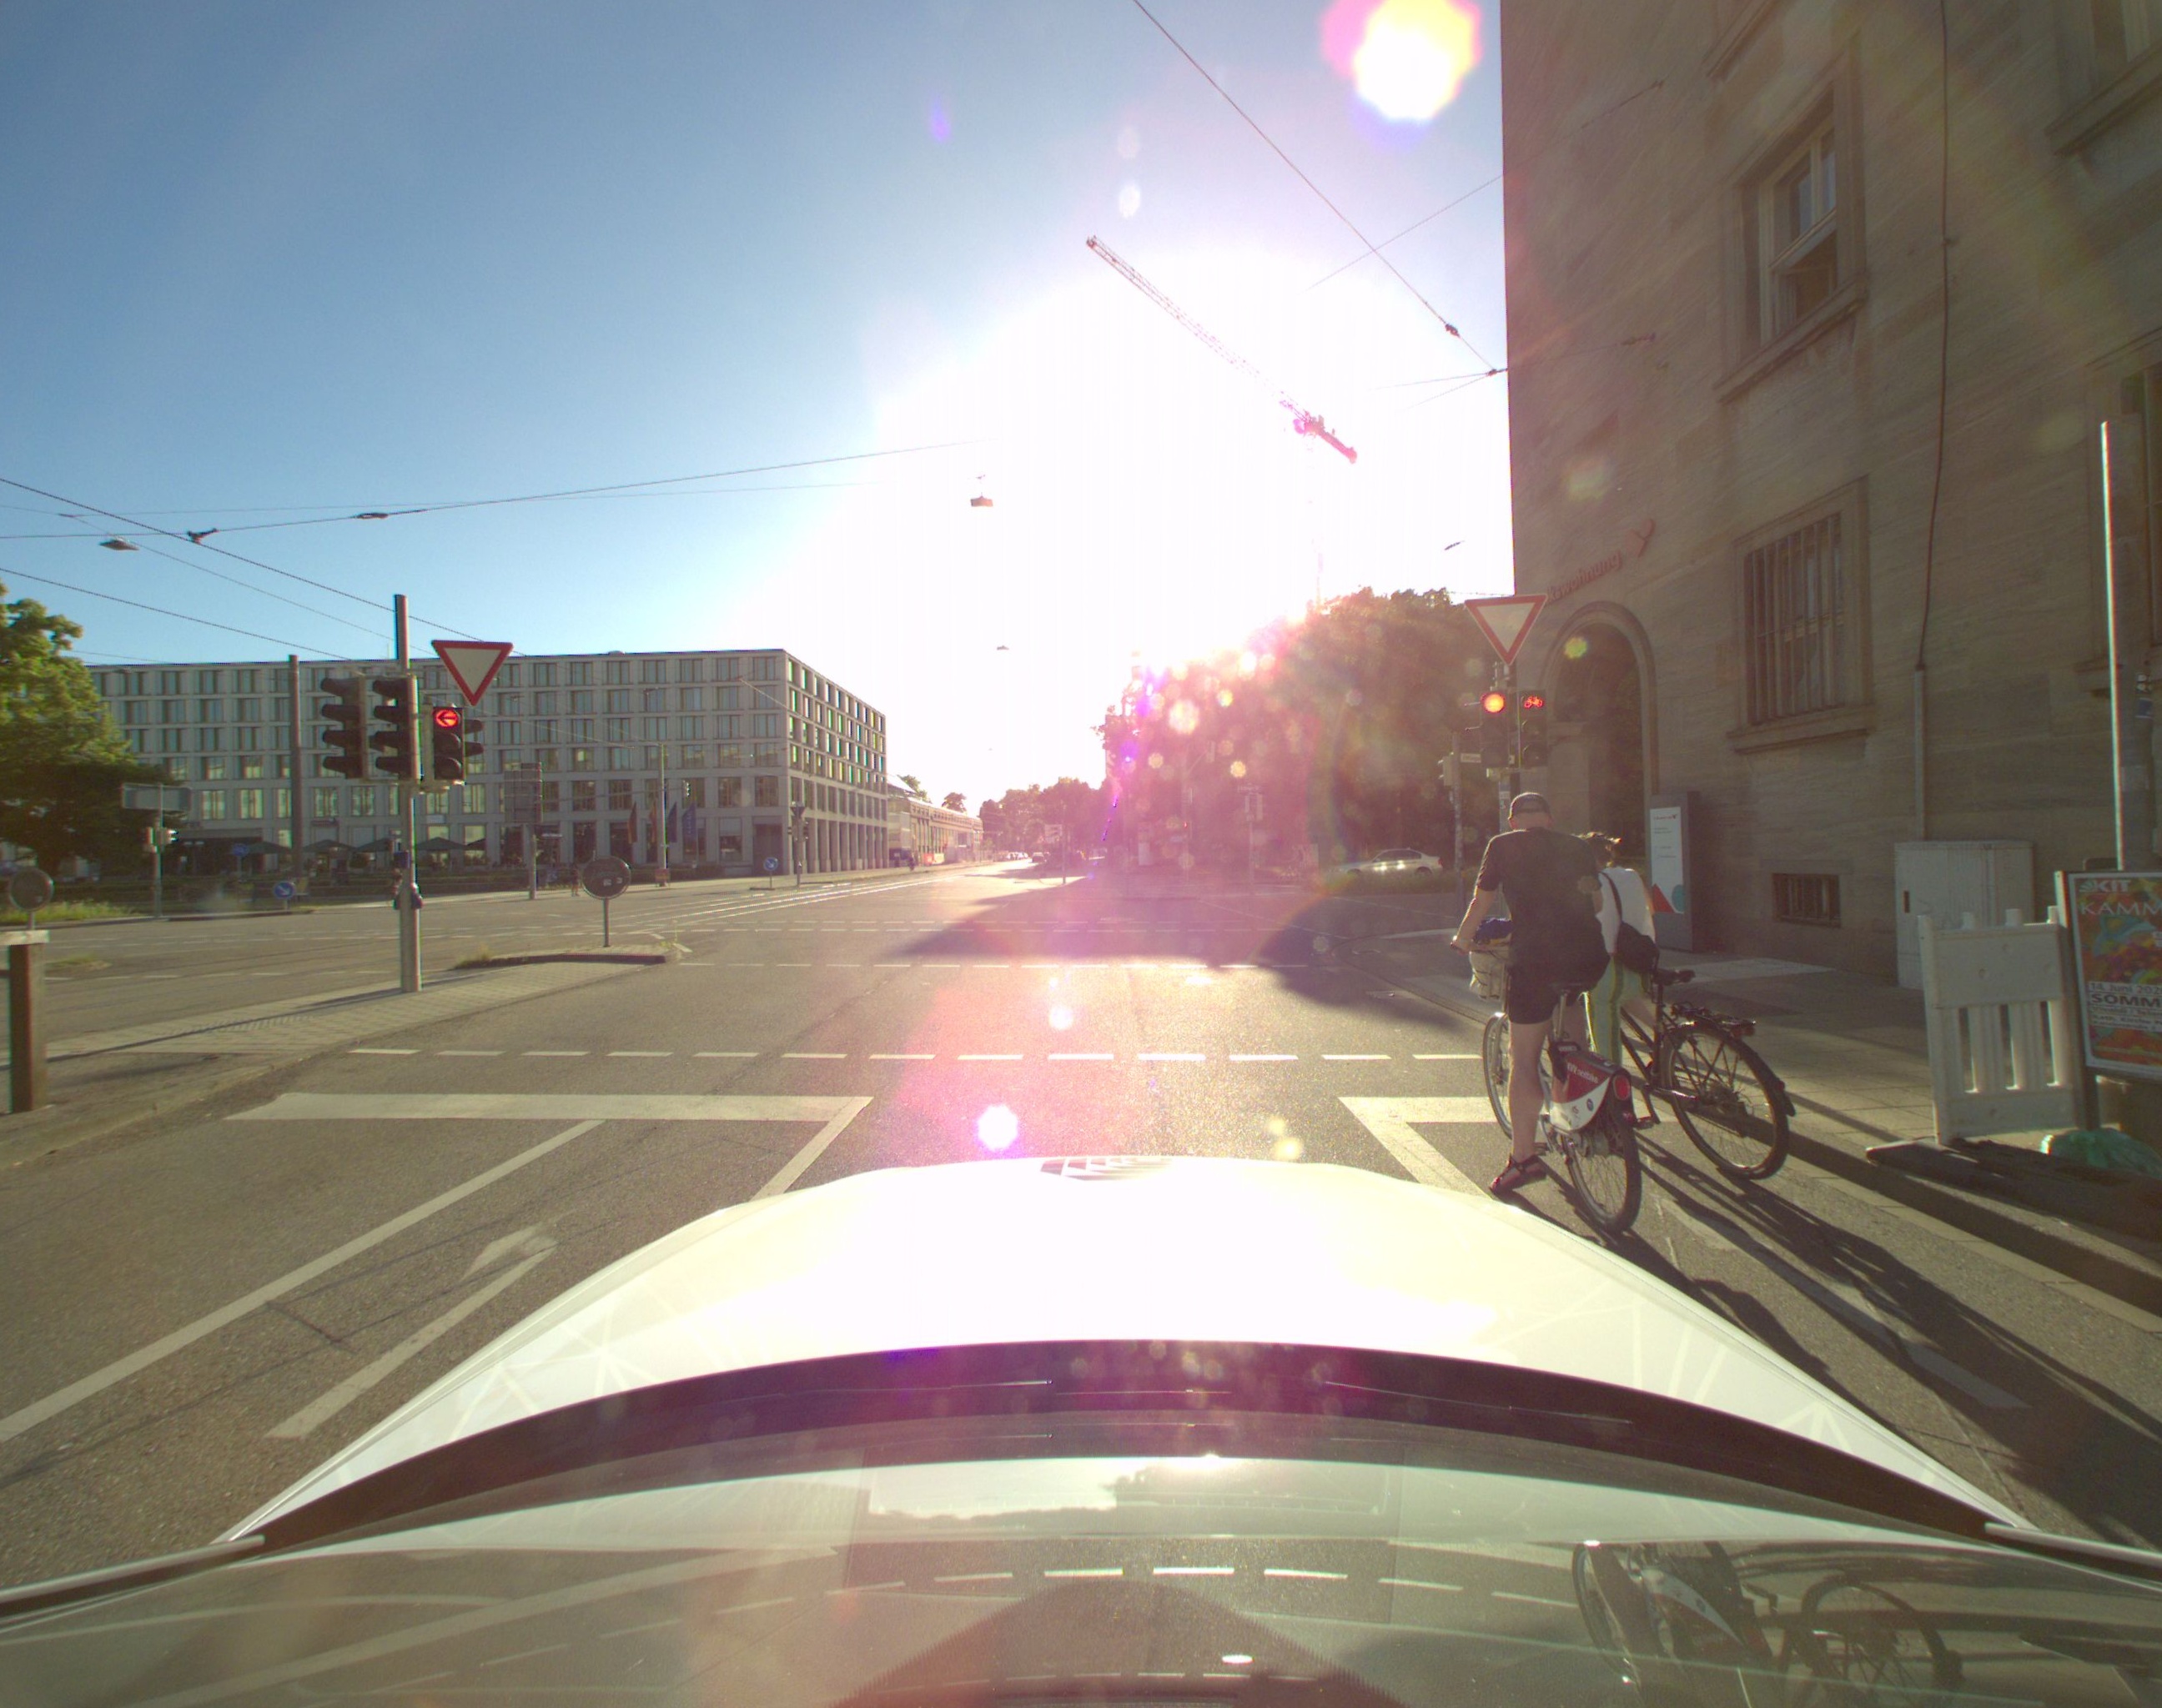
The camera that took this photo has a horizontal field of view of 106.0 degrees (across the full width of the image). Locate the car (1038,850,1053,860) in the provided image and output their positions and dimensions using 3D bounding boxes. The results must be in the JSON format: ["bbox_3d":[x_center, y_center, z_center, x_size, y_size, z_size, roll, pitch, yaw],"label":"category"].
[{"bbox_3d":[-6.260,0.164,142.266,1.882,1.565,4.815,1,0,6],"label":"car"}]

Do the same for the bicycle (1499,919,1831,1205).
[{"bbox_3d":[2.946,0.960,4.358,0.532,1.077,1.751,-1,0,1],"label":"bicycle"}]

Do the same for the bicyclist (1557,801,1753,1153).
[{"bbox_3d":[2.957,0.593,4.251,0.556,1.691,0.640,-1,0,0],"label":"bicyclist"}]

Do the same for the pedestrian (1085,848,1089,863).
[{"bbox_3d":[0.739,0.173,97.870,0.462,1.813,0.502,-2,0,-3],"label":"pedestrian"}]

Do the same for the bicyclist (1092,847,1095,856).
[{"bbox_3d":[2.513,-0.487,164.899,0.567,1.691,0.700,-2,0,1],"label":"bicyclist"}]

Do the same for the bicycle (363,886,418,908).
[{"bbox_3d":[-32.816,2.038,38.713,0.755,0.935,1.871,-2,0,15],"label":"bicycle"}]

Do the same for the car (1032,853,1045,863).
[{"bbox_3d":[-6.325,0.535,121.314,1.654,1.455,4.434,-1,0,2],"label":"car"}]

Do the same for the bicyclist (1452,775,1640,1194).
[{"bbox_3d":[2.126,0.563,3.784,0.556,1.799,0.551,-1,0,3],"label":"bicyclist"}]

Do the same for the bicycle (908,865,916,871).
[{"bbox_3d":[-15.813,1.320,76.340,0.499,0.515,1.258,0,-1,1],"label":"bicycle"}]

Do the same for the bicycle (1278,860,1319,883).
[{"bbox_3d":[9.655,0.759,36.211,1.657,0.963,0.535,-2,0,7],"label":"bicycle"}]

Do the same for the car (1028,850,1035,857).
[{"bbox_3d":[-12.951,-0.043,213.758,1.688,1.718,4.245,0,-1,-1],"label":"car"}]

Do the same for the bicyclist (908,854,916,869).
[{"bbox_3d":[-15.821,0.698,76.352,0.594,1.377,0.638,0,-1,1],"label":"bicyclist"}]

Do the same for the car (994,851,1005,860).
[{"bbox_3d":[-15.666,0.260,157.077,1.688,1.718,4.245,0,-1,-1],"label":"car"}]

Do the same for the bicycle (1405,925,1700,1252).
[{"bbox_3d":[2.124,0.959,3.942,0.513,1.077,1.729,-1,0,4],"label":"bicycle"}]

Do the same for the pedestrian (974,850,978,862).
[{"bbox_3d":[-18.750,0.387,145.436,0.672,2.014,0.751,0,-1,-1],"label":"pedestrian"}]

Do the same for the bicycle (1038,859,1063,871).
[{"bbox_3d":[-2.569,0.905,67.709,1.996,0.891,0.655,-4,-1,29],"label":"bicycle"}]

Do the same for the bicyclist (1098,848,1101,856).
[{"bbox_3d":[3.855,-0.420,165.481,0.567,1.691,0.700,-2,0,1],"label":"bicyclist"}]

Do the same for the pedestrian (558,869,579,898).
[{"bbox_3d":[-28.666,1.638,45.556,0.772,1.589,0.591,-2,0,1],"label":"pedestrian"}]

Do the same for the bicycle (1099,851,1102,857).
[{"bbox_3d":[3.864,0.032,165.495,0.573,1.077,1.831,-2,0,1],"label":"bicycle"}]

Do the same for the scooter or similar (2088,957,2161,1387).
[{"bbox_3d":[3.277,0.899,1.765,0.533,1.185,1.328,-2,0,1],"label":"scooter or similar"}]

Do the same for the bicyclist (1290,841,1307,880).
[{"bbox_3d":[9.676,0.279,36.210,0.640,1.683,0.508,-2,0,7],"label":"bicyclist"}]

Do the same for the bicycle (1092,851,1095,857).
[{"bbox_3d":[2.534,0.042,164.929,0.573,1.077,1.831,-2,0,1],"label":"bicycle"}]

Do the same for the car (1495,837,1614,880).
[{"bbox_3d":[19.164,0.175,33.051,3.835,1.611,1.650,-2,0,1],"label":"car"}]

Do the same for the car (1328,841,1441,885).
[{"bbox_3d":[12.350,0.353,33.261,3.979,1.611,1.650,-2,0,1],"label":"car"}]

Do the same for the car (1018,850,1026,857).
[{"bbox_3d":[-14.237,-0.123,195.327,1.688,1.718,4.245,0,-1,-1],"label":"car"}]

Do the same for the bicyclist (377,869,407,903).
[{"bbox_3d":[-32.796,1.507,38.745,0.753,1.589,0.781,-2,0,19],"label":"bicyclist"}]
